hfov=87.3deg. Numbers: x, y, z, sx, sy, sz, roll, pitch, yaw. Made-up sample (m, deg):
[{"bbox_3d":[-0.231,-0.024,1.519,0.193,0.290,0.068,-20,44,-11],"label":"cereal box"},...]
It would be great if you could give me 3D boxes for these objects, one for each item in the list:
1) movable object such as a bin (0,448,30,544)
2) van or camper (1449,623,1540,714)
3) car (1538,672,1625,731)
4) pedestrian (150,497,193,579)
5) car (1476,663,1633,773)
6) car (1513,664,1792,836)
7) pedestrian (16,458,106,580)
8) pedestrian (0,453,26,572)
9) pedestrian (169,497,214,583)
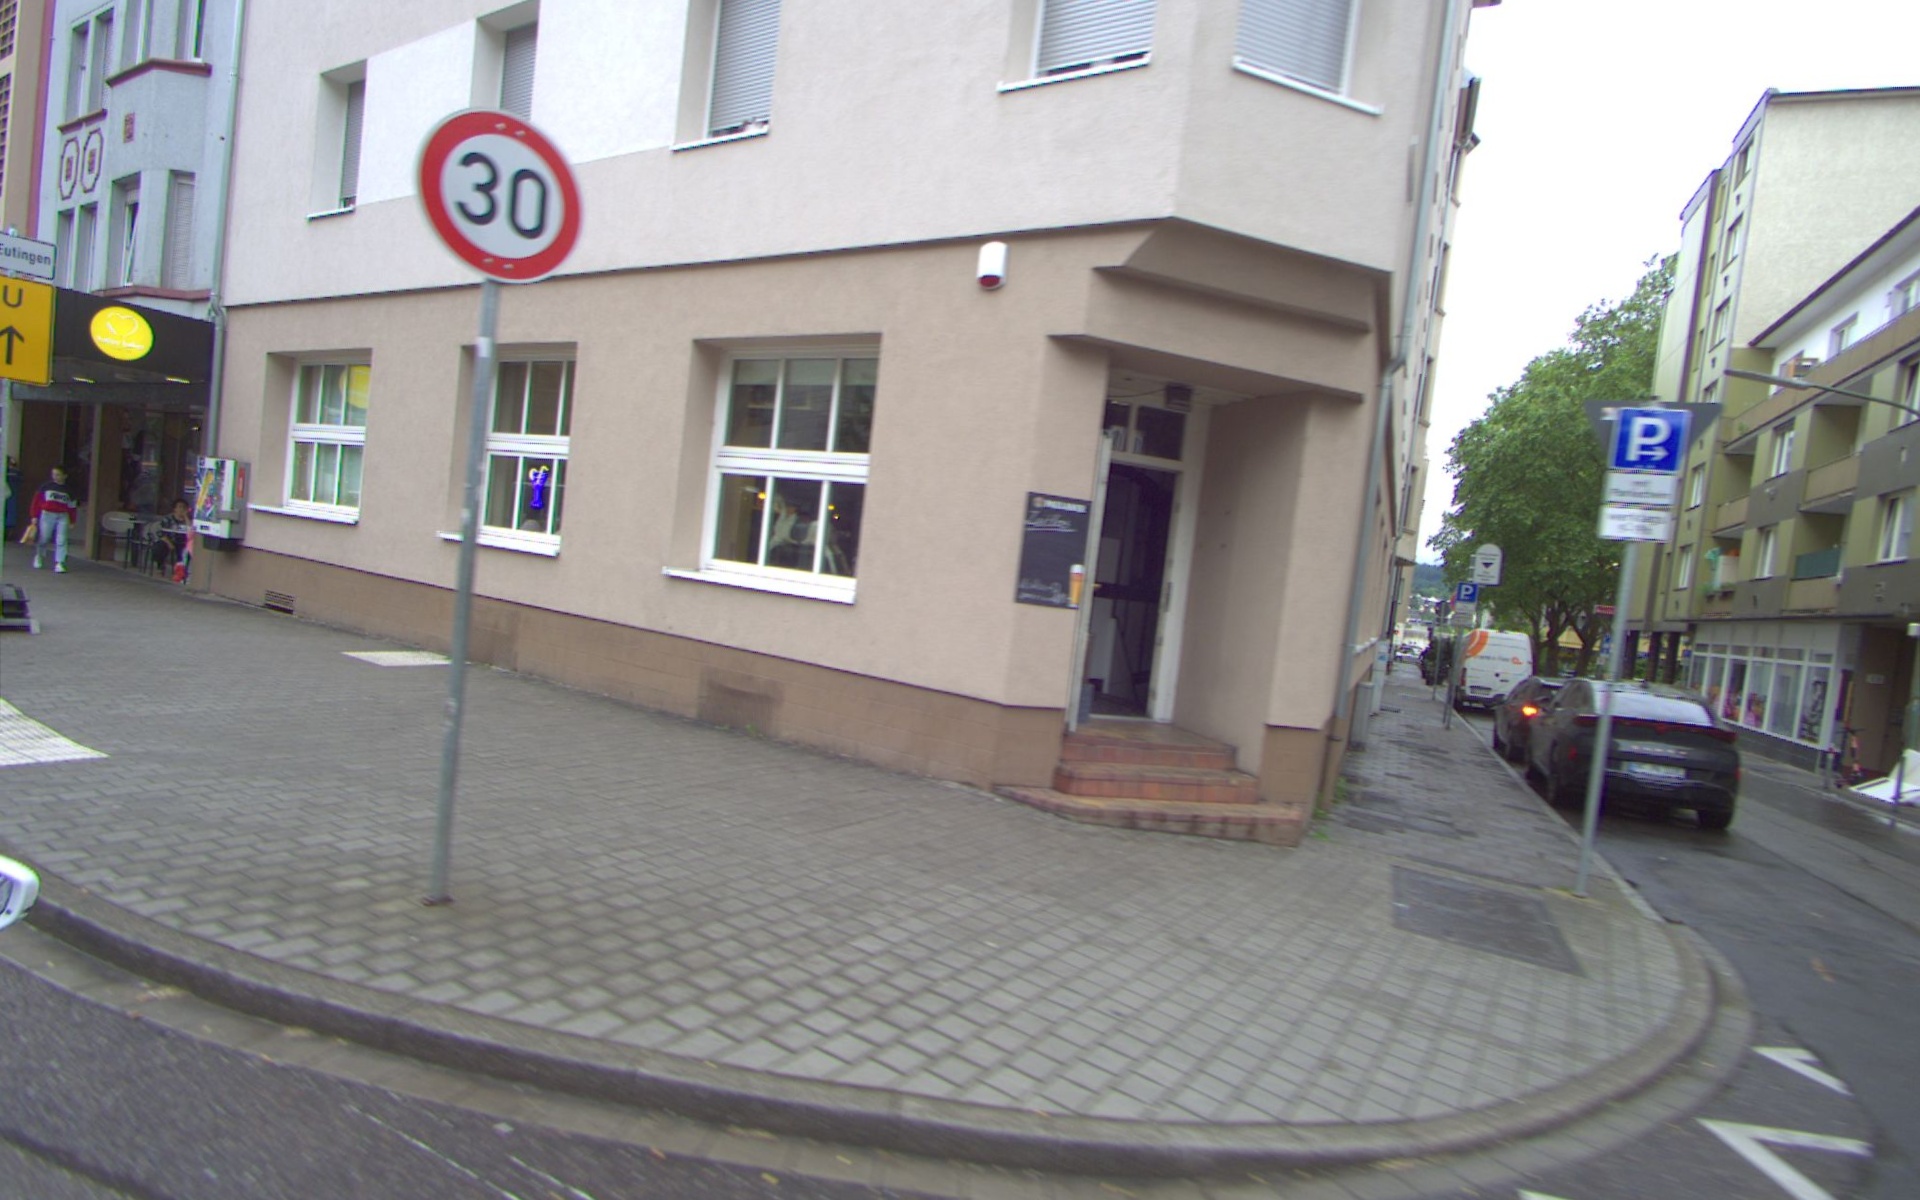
[{"bbox_3d":[-18.145,-1.962,18.498,1.410,1.725,1.123,5,2,30],"label":"movable object such as a bin"},{"bbox_3d":[17.271,2.270,32.714,1.964,2.520,4.966,6,-2,23],"label":"van or camper"},{"bbox_3d":[20.903,3.368,33.974,1.705,1.591,3.998,6,0,22],"label":"car"},{"bbox_3d":[-12.218,-0.954,15.585,0.351,1.220,0.412,9,5,35],"label":"pedestrian"},{"bbox_3d":[10.551,2.013,18.138,1.705,1.510,3.998,6,0,22],"label":"car"},{"bbox_3d":[8.633,1.751,12.997,2.010,1.571,3.998,6,0,22],"label":"car"},{"bbox_3d":[-13.475,-1.205,15.085,0.744,1.680,0.750,5,-2,39],"label":"pedestrian"},{"bbox_3d":[-14.316,-1.314,14.683,0.825,1.680,0.749,5,-2,39],"label":"pedestrian"},{"bbox_3d":[-11.404,-0.888,14.931,0.351,1.220,0.412,9,5,35],"label":"pedestrian"}]
